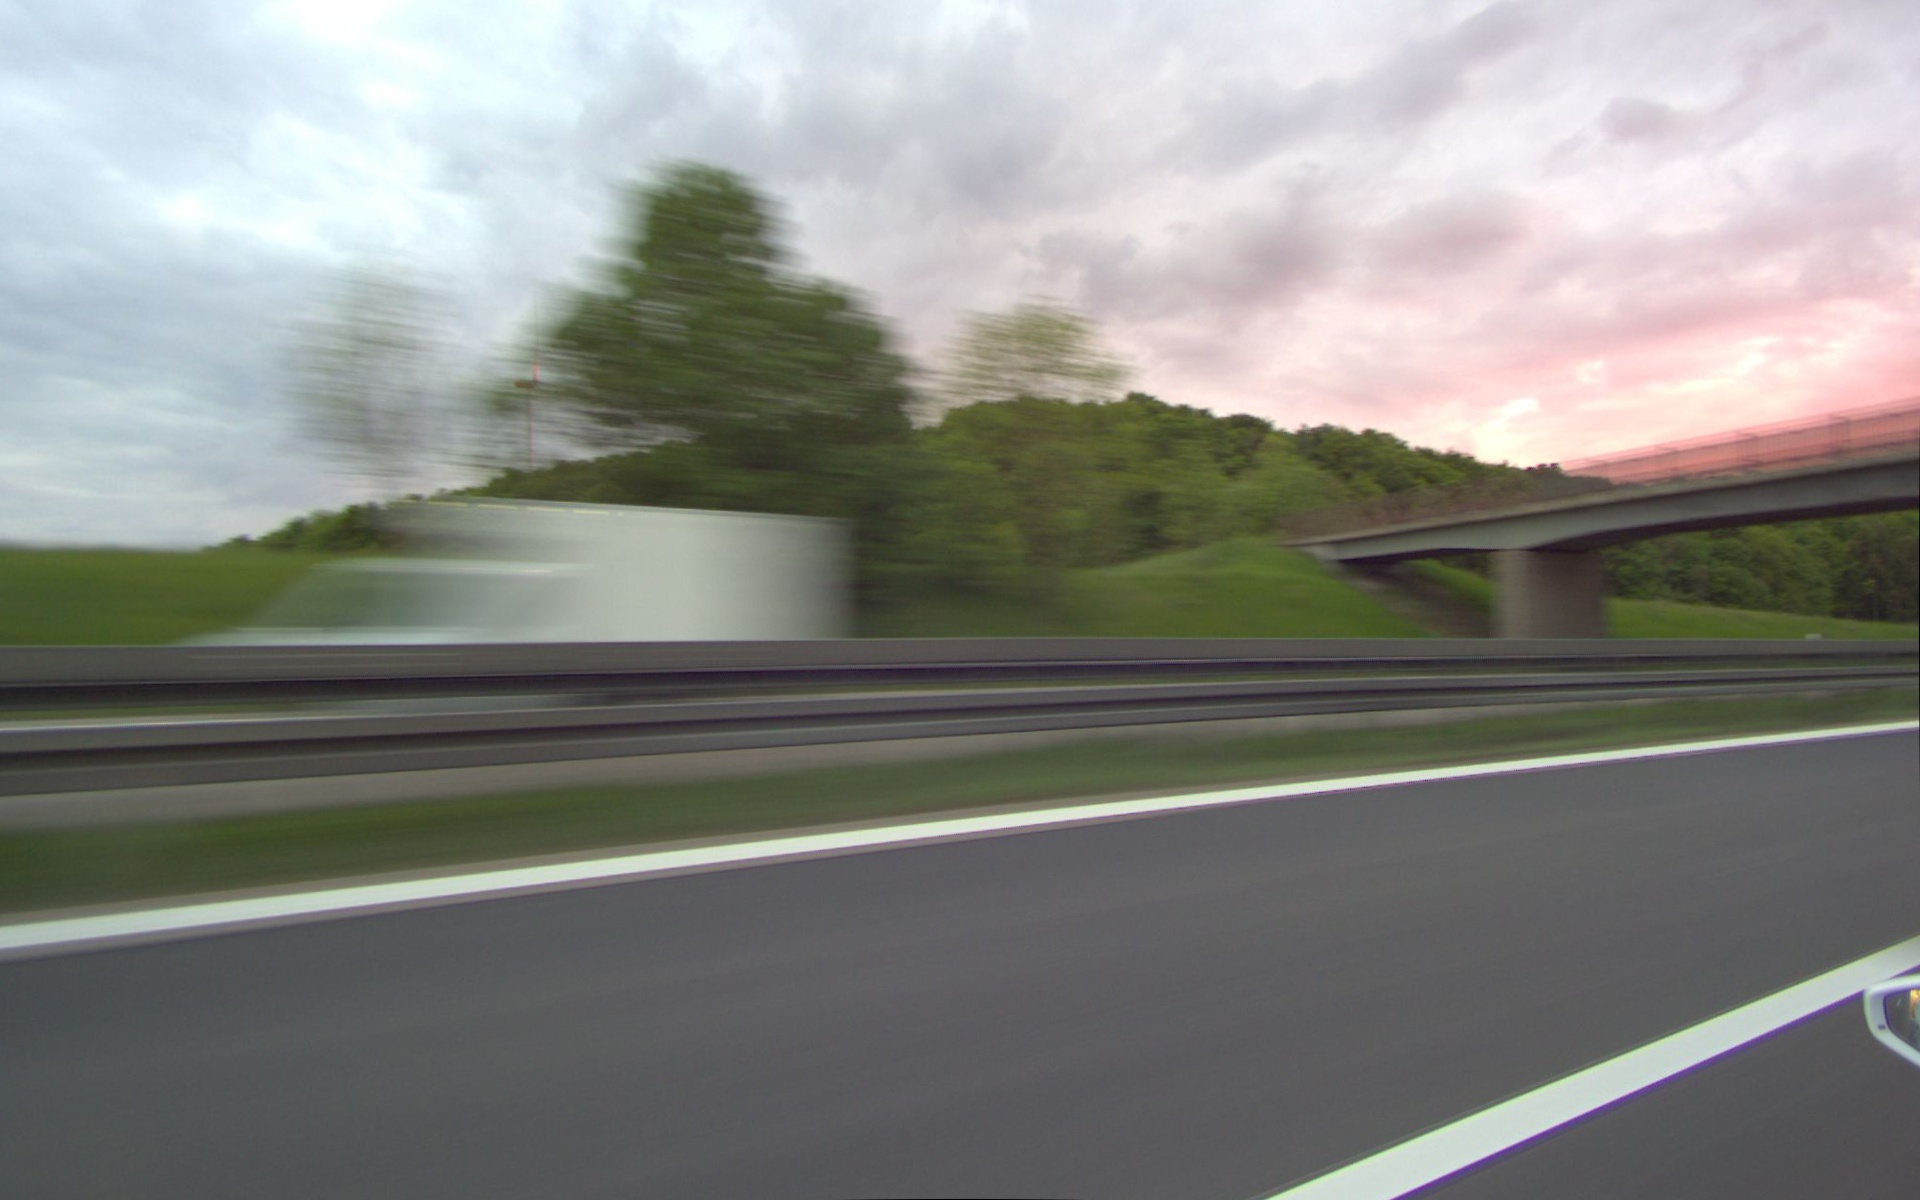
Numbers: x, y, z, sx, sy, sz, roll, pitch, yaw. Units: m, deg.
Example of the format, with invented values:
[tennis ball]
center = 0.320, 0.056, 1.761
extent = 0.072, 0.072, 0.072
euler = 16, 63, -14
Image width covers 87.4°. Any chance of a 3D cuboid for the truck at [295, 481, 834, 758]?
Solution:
[truck]
center = -5.367, 0.283, 14.259
extent = 6.591, 3.151, 2.599
euler = 1, 0, -31
